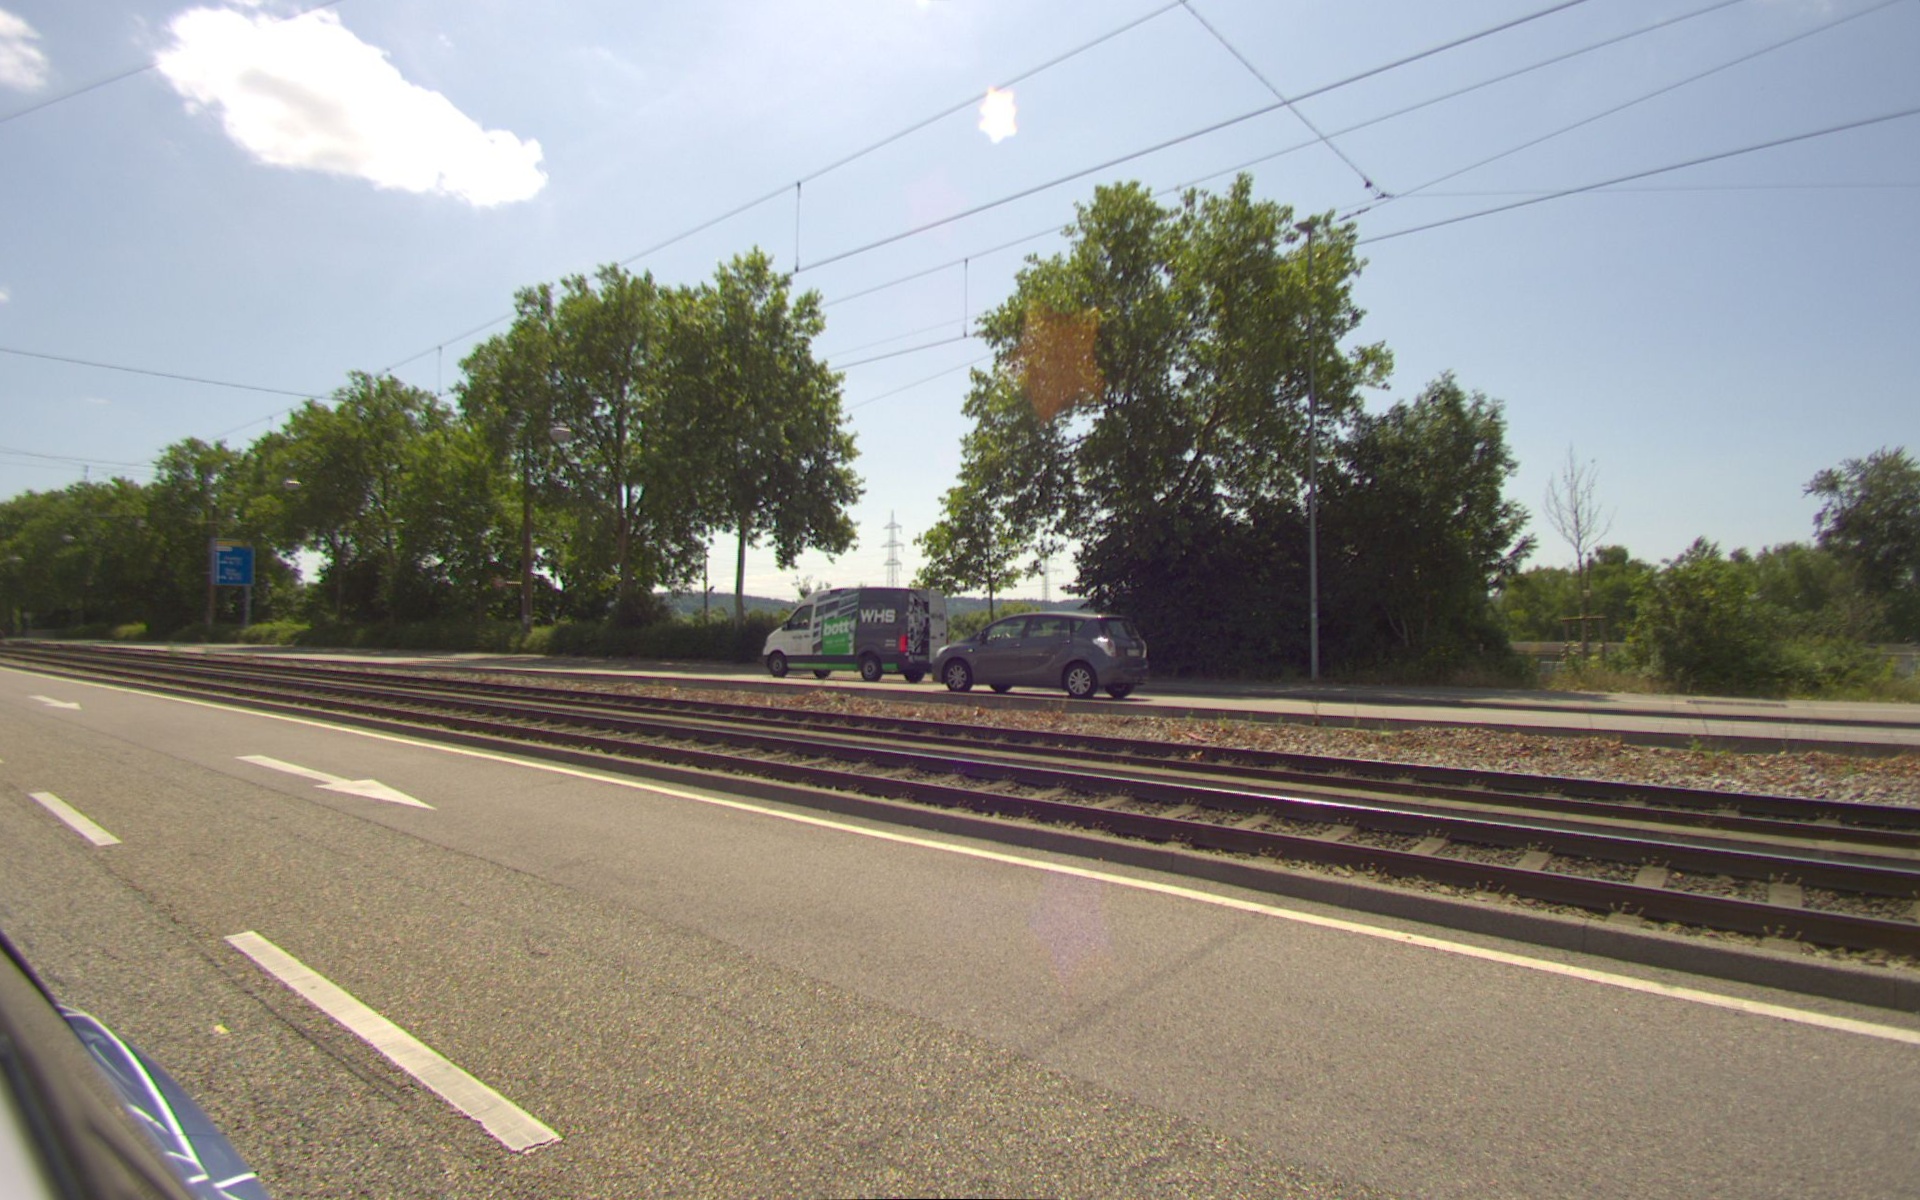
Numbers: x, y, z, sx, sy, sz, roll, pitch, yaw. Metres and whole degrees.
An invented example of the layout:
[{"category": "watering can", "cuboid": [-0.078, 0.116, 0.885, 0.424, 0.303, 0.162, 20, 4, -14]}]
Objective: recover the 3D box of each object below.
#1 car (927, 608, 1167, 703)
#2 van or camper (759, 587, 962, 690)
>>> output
[{"category": "car", "cuboid": [1.643, 1.071, 19.694, 4.257, 1.649, 1.976, -1, -4, 36]}, {"category": "van or camper", "cuboid": [-2.872, 1.049, 28.194, 5.834, 2.606, 1.975, -1, -3, 37]}]
